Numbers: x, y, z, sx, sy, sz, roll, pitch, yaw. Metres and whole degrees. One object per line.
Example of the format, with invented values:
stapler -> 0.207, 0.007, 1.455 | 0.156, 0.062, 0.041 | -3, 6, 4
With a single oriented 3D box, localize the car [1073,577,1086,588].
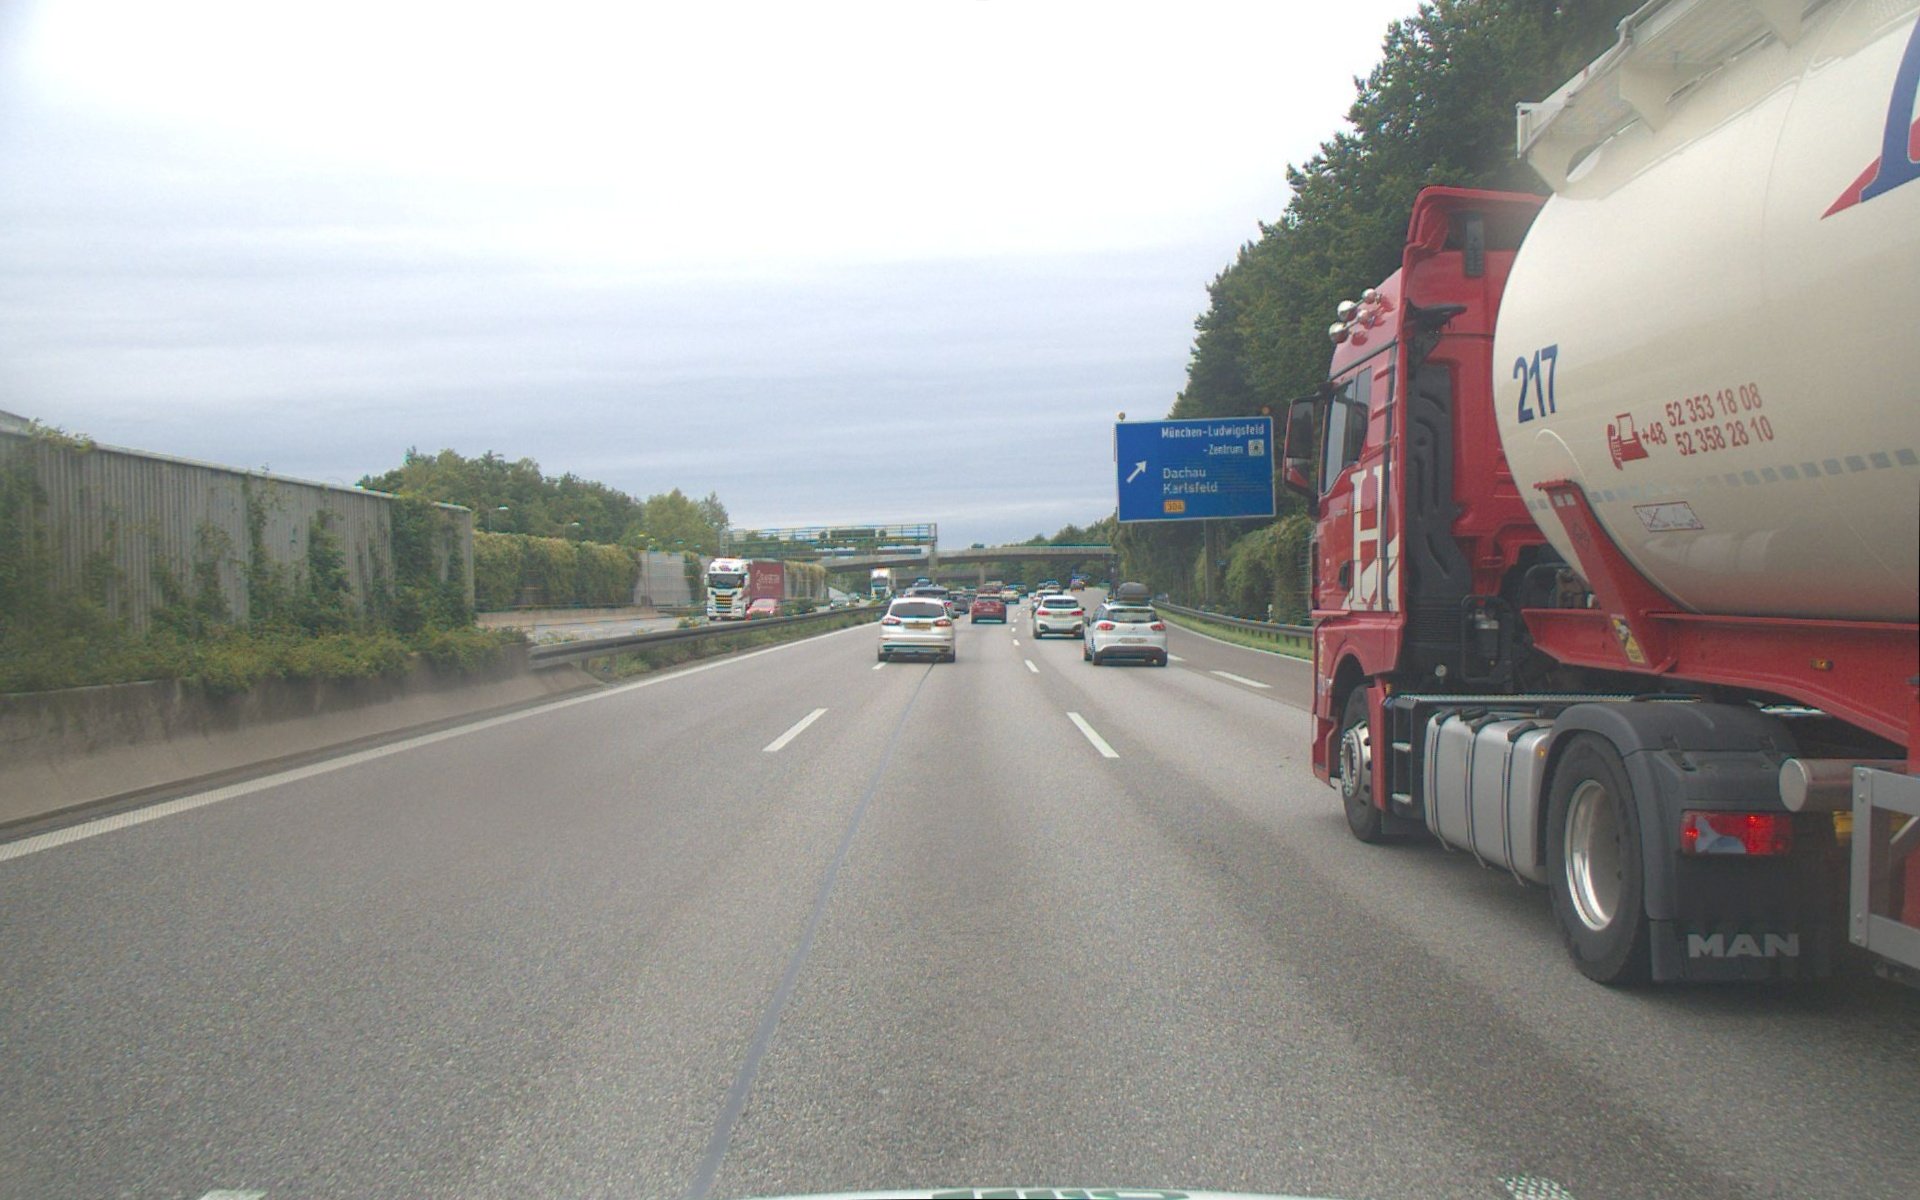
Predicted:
car -> 15.829, -2.374, 219.380 | 1.653, 1.447, 3.873 | 0, 0, 3

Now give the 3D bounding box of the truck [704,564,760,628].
truck -> -15.428, -0.276, 112.211 | 2.612, 4.200, 5.919 | -1, 0, 3

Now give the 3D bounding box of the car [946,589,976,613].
car -> 0.103, 0.038, 109.111 | 1.653, 1.533, 3.874 | -1, 0, 5

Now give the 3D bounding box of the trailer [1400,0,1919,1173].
trailer -> 3.882, -0.482, 2.637 | 2.614, 4.008, 13.127 | 0, 0, -1

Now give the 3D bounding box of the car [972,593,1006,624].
car -> 1.490, 0.418, 83.710 | 1.654, 1.533, 3.872 | 1, 0, 2

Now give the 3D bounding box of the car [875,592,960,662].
car -> -0.944, 0.614, 39.589 | 1.853, 1.530, 5.030 | 1, 0, 0

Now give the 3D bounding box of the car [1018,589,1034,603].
car -> 7.343, -0.418, 184.291 | 1.653, 1.566, 3.873 | 0, 0, 4

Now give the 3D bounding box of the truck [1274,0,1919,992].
truck -> 3.823, -0.475, 9.716 | 2.640, 3.981, 6.555 | 0, 0, -1

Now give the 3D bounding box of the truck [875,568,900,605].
truck -> -8.968, -1.675, 205.039 | 2.593, 4.552, 5.285 | -1, 0, 3

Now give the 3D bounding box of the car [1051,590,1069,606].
car -> 9.512, -0.194, 157.690 | 1.653, 1.566, 3.873 | 0, 0, 4

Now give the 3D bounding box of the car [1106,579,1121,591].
car -> 18.723, -1.782, 202.055 | 1.653, 1.447, 3.873 | 0, 0, 3

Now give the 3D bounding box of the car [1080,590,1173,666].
car -> 3.876, 0.631, 39.157 | 1.778, 1.654, 5.030 | -1, 0, 1

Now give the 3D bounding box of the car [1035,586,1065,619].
car -> 5.265, 0.161, 96.444 | 1.653, 1.811, 3.873 | -1, 0, 4

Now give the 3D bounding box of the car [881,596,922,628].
car -> -3.005, 0.634, 86.549 | 1.684, 1.495, 5.031 | 0, -2, 3

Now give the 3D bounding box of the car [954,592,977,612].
car -> 0.506, 0.194, 146.407 | 1.653, 1.668, 3.873 | -1, 0, 4

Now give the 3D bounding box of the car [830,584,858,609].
car -> -9.622, -0.288, 137.272 | 1.953, 1.768, 4.002 | 3, 3, 1

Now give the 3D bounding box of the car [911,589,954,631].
car -> -1.111, 0.396, 67.905 | 1.655, 1.532, 3.871 | 4, 1, -1

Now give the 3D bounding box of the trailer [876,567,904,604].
trailer -> -8.793, -1.773, 208.805 | 2.612, 4.522, 8.577 | -1, 0, 3

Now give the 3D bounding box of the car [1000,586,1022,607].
car -> 4.606, -0.314, 149.769 | 1.752, 1.811, 3.873 | -1, 0, 4

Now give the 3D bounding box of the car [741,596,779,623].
car -> -12.198, 0.581, 101.194 | 1.735, 1.597, 4.717 | 0, 0, 0

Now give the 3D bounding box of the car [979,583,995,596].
car -> 3.112, -1.211, 188.232 | 1.653, 1.447, 3.873 | 0, 0, 3

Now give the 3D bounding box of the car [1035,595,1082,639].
car -> 3.564, 0.621, 60.297 | 1.653, 1.533, 3.872 | 0, -1, 2

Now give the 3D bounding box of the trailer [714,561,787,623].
trailer -> -14.936, -0.570, 119.031 | 2.687, 4.200, 13.694 | 0, 0, 3
